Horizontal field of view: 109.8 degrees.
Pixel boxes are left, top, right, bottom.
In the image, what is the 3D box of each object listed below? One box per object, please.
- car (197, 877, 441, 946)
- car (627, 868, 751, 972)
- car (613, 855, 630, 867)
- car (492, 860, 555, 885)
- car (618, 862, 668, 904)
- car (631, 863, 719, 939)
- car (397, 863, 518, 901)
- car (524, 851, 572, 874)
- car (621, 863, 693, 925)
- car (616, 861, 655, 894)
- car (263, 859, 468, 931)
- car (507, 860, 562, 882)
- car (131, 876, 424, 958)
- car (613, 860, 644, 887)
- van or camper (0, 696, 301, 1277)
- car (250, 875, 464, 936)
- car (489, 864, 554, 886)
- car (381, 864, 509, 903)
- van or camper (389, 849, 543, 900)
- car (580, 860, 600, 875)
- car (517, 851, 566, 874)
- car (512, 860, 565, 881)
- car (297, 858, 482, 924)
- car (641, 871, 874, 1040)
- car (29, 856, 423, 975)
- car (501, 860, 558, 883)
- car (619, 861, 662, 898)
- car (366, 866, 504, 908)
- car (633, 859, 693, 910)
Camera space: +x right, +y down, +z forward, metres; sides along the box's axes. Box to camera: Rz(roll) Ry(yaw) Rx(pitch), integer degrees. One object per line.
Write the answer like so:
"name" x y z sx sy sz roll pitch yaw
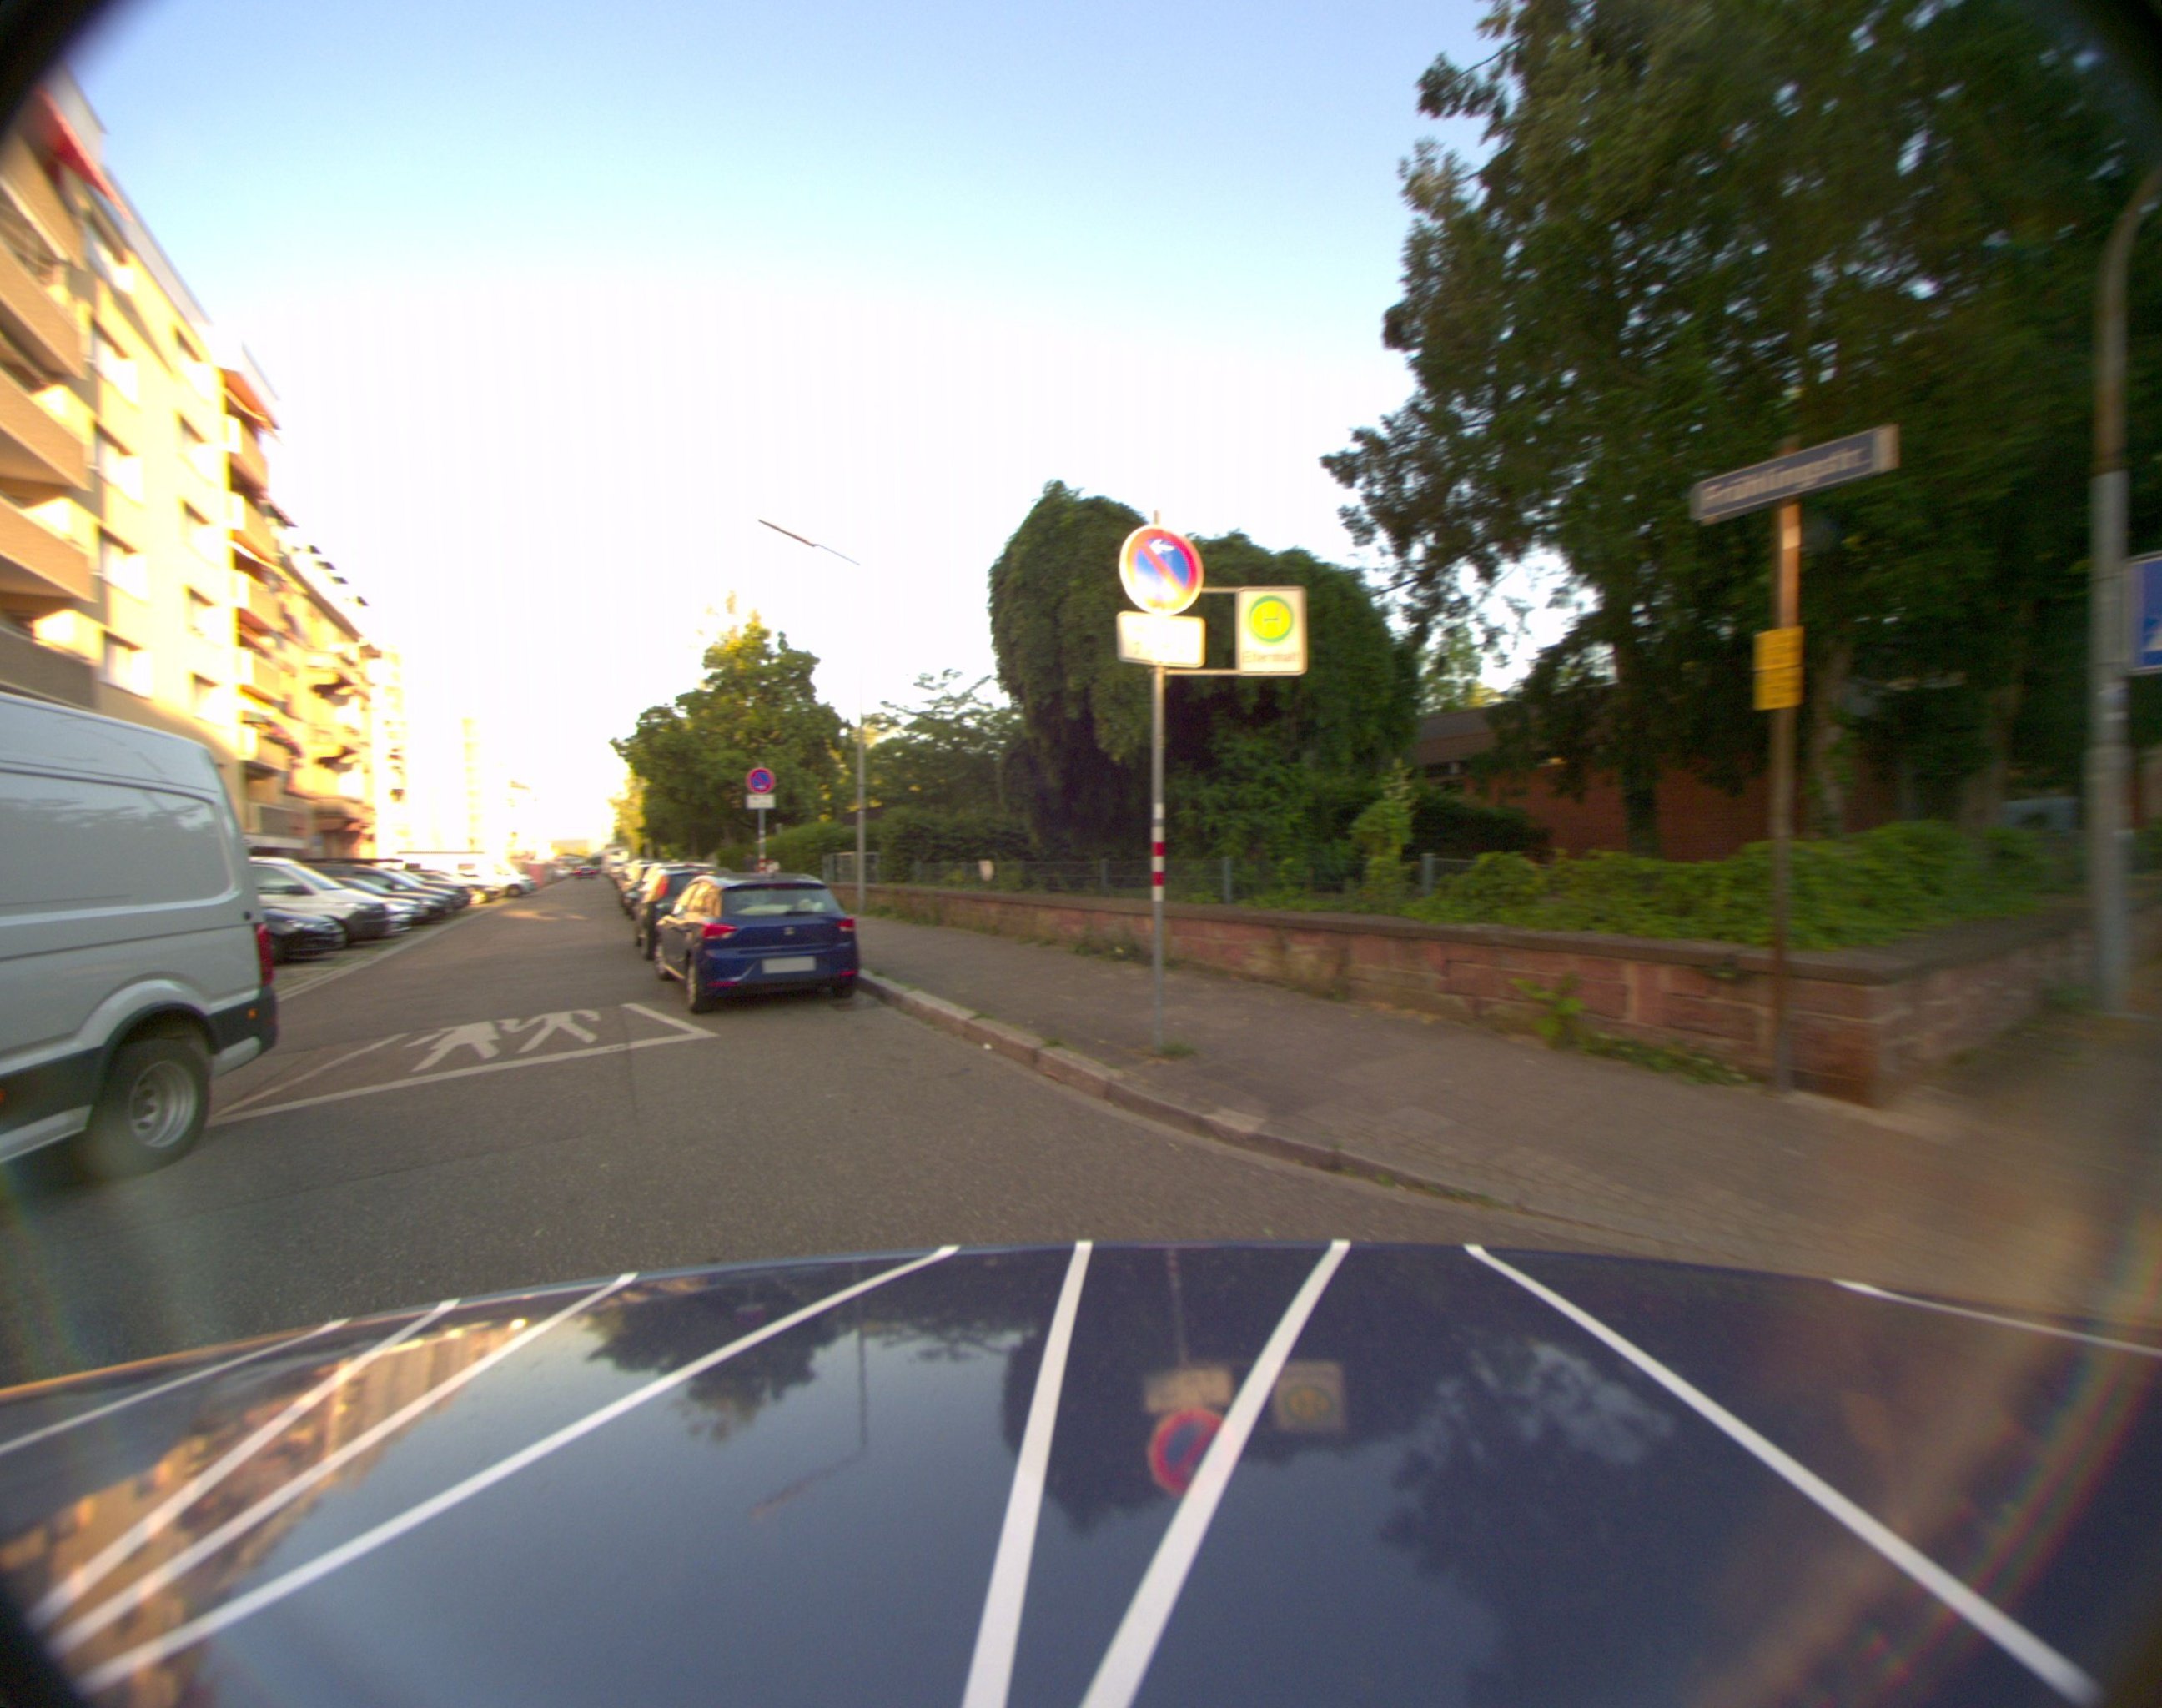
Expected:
"car" -19.549 1.427 19.790 4.150 1.452 1.739 -1 1 -31
"car" -6.933 1.019 13.267 1.537 1.476 3.502 -1 1 -33
"car" -60.598 0.895 100.235 1.807 1.576 2.946 -1 1 -33
"car" -47.866 1.571 65.360 4.197 1.987 1.739 -1 1 -31
"car" -17.686 1.125 30.620 1.537 1.576 2.946 -1 1 -33
"car" -9.640 1.018 17.943 1.537 1.576 3.121 -1 1 -33
"car" -30.753 1.346 37.655 4.370 1.650 1.739 -1 1 -31
"car" -60.272 0.902 85.996 4.197 2.461 1.834 -1 1 -31
"car" -12.172 1.073 21.718 1.537 1.576 3.393 -1 1 -33
"car" -22.680 1.158 38.614 1.537 1.576 2.946 -1 1 -33
"car" -22.206 1.212 23.865 4.370 1.986 1.739 -1 1 -31
"car" -53.259 1.606 74.127 4.197 1.987 1.835 -1 1 -31
"car" -18.480 1.386 17.824 4.372 1.535 1.739 -1 1 -31
"car" -28.549 1.197 47.892 1.537 1.576 2.946 -1 1 -33
"van or camper" -5.331 0.618 1.758 2.098 2.575 6.858 -3 1 -21
"car" -20.622 1.422 21.918 4.150 1.452 1.739 -1 1 -31
"car" -46.281 1.728 62.945 4.197 1.650 1.739 -1 1 -31
"car" -29.824 1.342 35.828 4.370 1.650 1.739 -1 1 -31
"van or camper" -32.639 1.006 40.645 6.114 2.476 2.191 -1 1 -31
"car" -56.014 1.549 86.746 1.746 1.650 4.353 -1 1 -30
"car" -58.693 0.897 82.697 4.197 2.461 1.834 -1 1 -31
"car" -55.242 1.618 77.429 4.197 1.987 1.835 -1 1 -31
"car" -23.346 1.174 25.897 4.370 1.986 1.739 -1 1 -31
"car" -4.034 0.996 9.116 1.727 1.476 3.780 -1 1 -36
"car" -17.417 1.120 15.973 5.085 2.073 1.995 -1 1 -30
"car" -51.905 1.599 71.635 4.197 1.987 1.835 -1 1 -31
"car" -20.209 1.140 34.819 1.537 1.576 2.946 -1 1 -33
"car" -28.323 1.402 33.525 4.370 1.650 1.739 -1 1 -31
"car" -14.323 0.992 26.001 1.537 1.576 2.946 -1 1 -33
